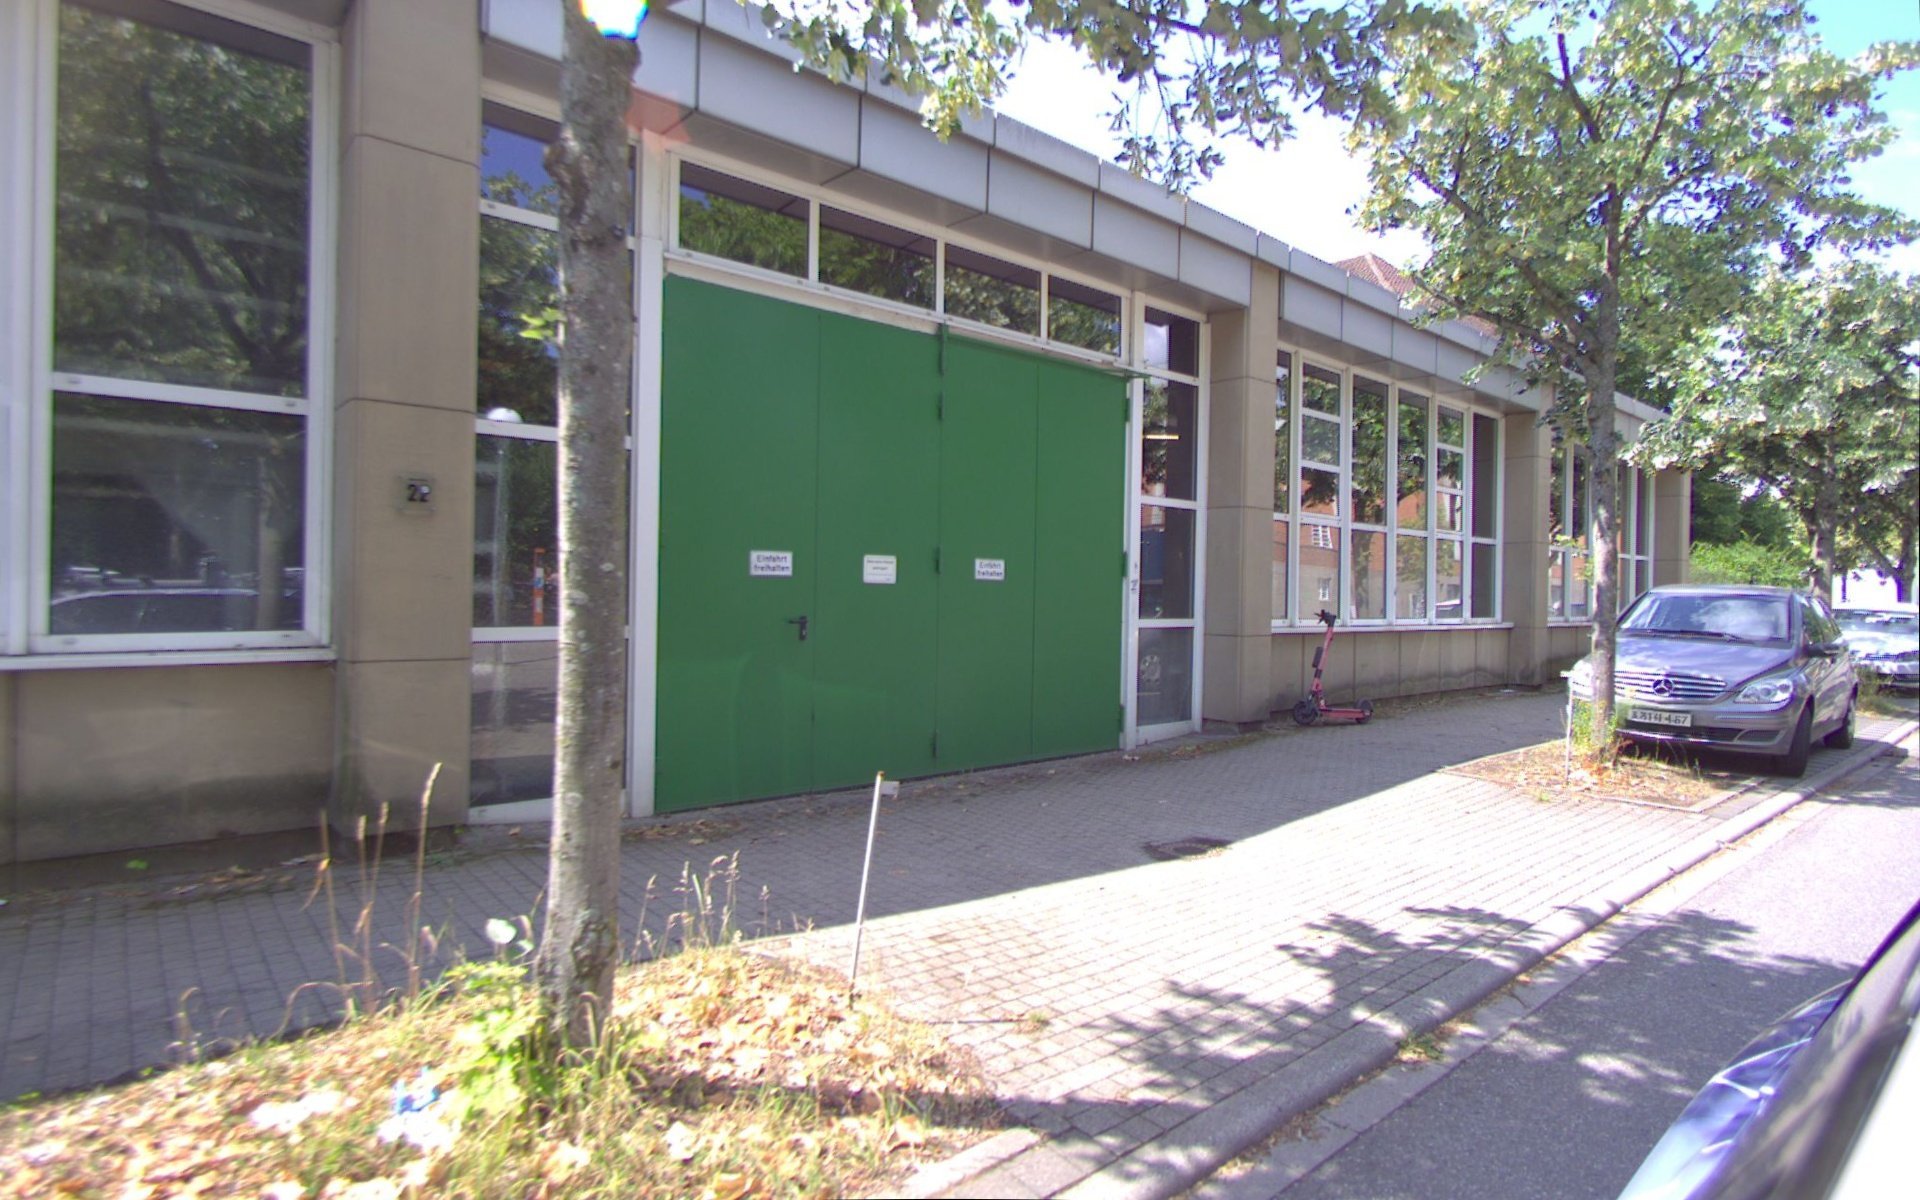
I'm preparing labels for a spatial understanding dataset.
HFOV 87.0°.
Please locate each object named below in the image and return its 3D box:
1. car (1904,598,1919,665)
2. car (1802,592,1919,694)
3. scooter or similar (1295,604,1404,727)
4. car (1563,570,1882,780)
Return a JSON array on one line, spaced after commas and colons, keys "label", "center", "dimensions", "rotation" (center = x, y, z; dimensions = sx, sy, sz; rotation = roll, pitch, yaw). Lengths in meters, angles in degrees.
[{"label": "car", "center": [22.212, 0.679, 22.395], "dimensions": [3.921, 1.408, 1.648], "rotation": [0, 0, -43]}, {"label": "car", "center": [15.765, 0.648, 17.115], "dimensions": [4.592, 1.485, 1.728], "rotation": [0, 2, -43]}, {"label": "scooter or similar", "center": [4.210, 0.666, 10.904], "dimensions": [1.467, 1.232, 0.416], "rotation": [0, 2, -41]}, {"label": "car", "center": [7.506, 0.559, 9.813], "dimensions": [4.069, 1.593, 1.707], "rotation": [0, 2, -42]}]
